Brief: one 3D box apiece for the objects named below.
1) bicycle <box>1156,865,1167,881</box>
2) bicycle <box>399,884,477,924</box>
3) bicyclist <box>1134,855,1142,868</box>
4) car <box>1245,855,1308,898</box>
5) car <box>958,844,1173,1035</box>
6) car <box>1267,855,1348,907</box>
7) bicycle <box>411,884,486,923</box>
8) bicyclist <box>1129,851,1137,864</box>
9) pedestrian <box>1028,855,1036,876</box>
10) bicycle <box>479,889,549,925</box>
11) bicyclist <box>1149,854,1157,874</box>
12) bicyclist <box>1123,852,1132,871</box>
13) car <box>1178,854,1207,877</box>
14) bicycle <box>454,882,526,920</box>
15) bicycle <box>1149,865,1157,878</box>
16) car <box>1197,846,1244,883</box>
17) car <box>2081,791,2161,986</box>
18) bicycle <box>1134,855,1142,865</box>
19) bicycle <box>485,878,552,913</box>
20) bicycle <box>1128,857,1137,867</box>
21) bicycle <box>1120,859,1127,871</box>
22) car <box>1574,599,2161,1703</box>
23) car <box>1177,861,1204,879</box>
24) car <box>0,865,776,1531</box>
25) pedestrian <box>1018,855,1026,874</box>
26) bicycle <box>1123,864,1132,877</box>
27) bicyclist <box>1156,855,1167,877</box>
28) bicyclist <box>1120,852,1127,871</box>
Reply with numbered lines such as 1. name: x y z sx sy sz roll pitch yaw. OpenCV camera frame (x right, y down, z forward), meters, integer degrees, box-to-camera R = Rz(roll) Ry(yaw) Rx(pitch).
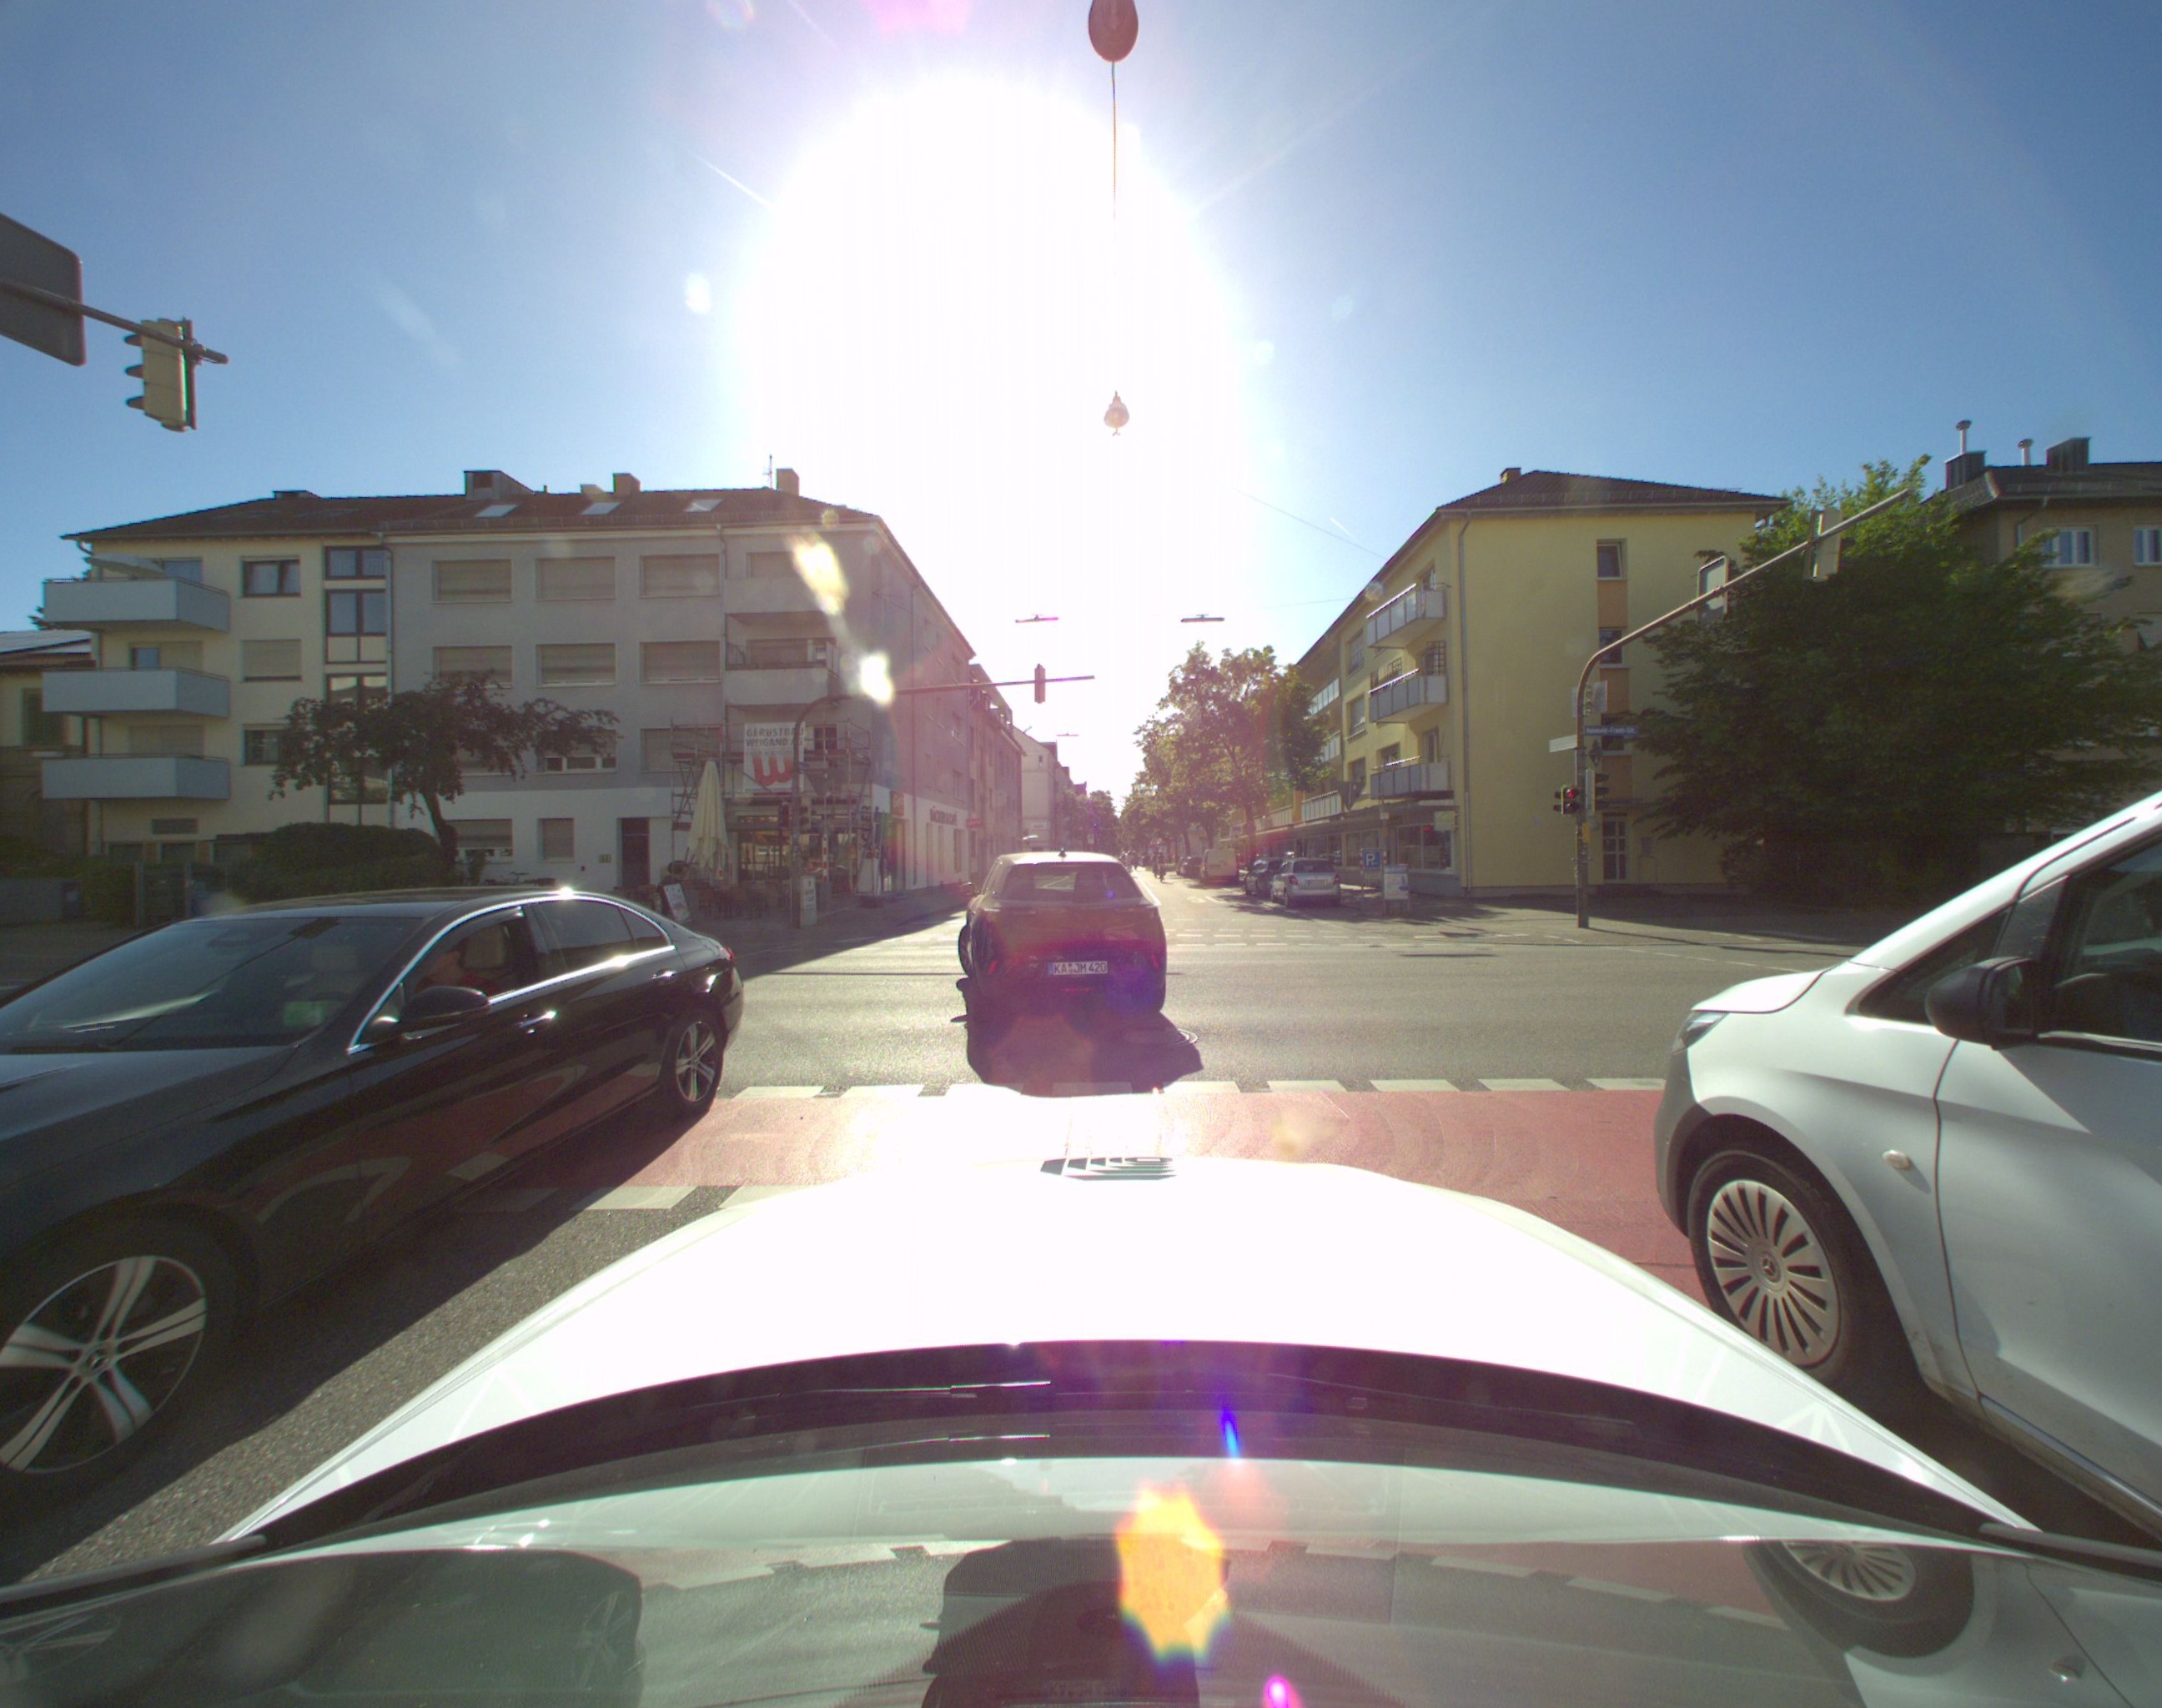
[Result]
1. bicycle: 4.663 1.108 47.101 0.544 0.866 1.878 -1 0 4
2. bicycle: -16.002 1.237 20.273 1.581 0.940 0.513 -1 0 4
3. bicyclist: 5.336 0.695 76.267 0.689 1.193 0.595 -1 0 3
4. car: 7.239 0.792 30.448 1.706 1.483 3.383 -1 0 3
5. car: -0.408 0.727 8.870 1.762 1.558 3.986 -1 -1 -10
6. car: 7.066 0.805 25.700 1.706 1.483 3.482 -1 0 3
7. bicycle: -16.247 1.267 20.929 1.581 0.940 0.513 -1 0 4
8. bicyclist: 5.432 0.331 85.321 0.853 1.314 1.211 1 0 2
9. pedestrian: -3.709 0.840 62.103 0.575 1.583 0.707 -1 0 -3
10. bicycle: -15.599 1.464 22.425 1.581 0.940 0.513 -1 0 4
11. bicyclist: 4.893 0.673 55.491 0.544 1.382 0.823 -1 0 3
12. bicyclist: 3.330 0.519 58.173 0.586 1.382 0.823 -1 0 3
13. car: 7.729 0.780 56.673 1.706 1.483 3.383 -1 0 3
14. bicycle: -15.710 1.242 21.662 1.581 0.940 0.513 -1 0 4
15. bicycle: 4.922 1.171 55.774 0.544 0.866 1.878 -1 0 4
16. car: 7.491 0.540 44.203 2.037 1.846 4.588 -1 0 4
17. car: 13.312 0.363 8.009 5.032 1.940 1.971 1 -1 -6
18. bicycle: 5.327 0.532 76.167 0.688 0.866 1.878 -1 0 4
19. bicycle: -15.999 1.165 23.176 1.581 0.940 0.513 -1 0 4
20. bicycle: 5.421 0.819 85.295 0.853 0.945 2.309 1 0 2
21. bicycle: 3.963 0.997 75.611 0.630 1.041 1.796 -2 0 2
22. car: 2.728 0.471 0.520 1.961 1.810 4.833 -1 0 1
23. car: 8.376 1.203 62.457 1.706 1.314 3.383 -1 0 3
24. car: -3.215 0.825 3.647 1.797 1.413 4.429 -3 0 3
25. pedestrian: -4.545 0.786 62.486 0.575 1.467 0.702 -1 0 -3
26. bicycle: 3.341 1.174 58.116 0.617 0.866 1.878 -1 0 4
27. bicyclist: 4.651 0.706 47.070 0.544 1.262 0.803 -1 0 3
28. bicyclist: 3.939 0.691 75.463 0.630 1.669 1.051 -2 0 2
